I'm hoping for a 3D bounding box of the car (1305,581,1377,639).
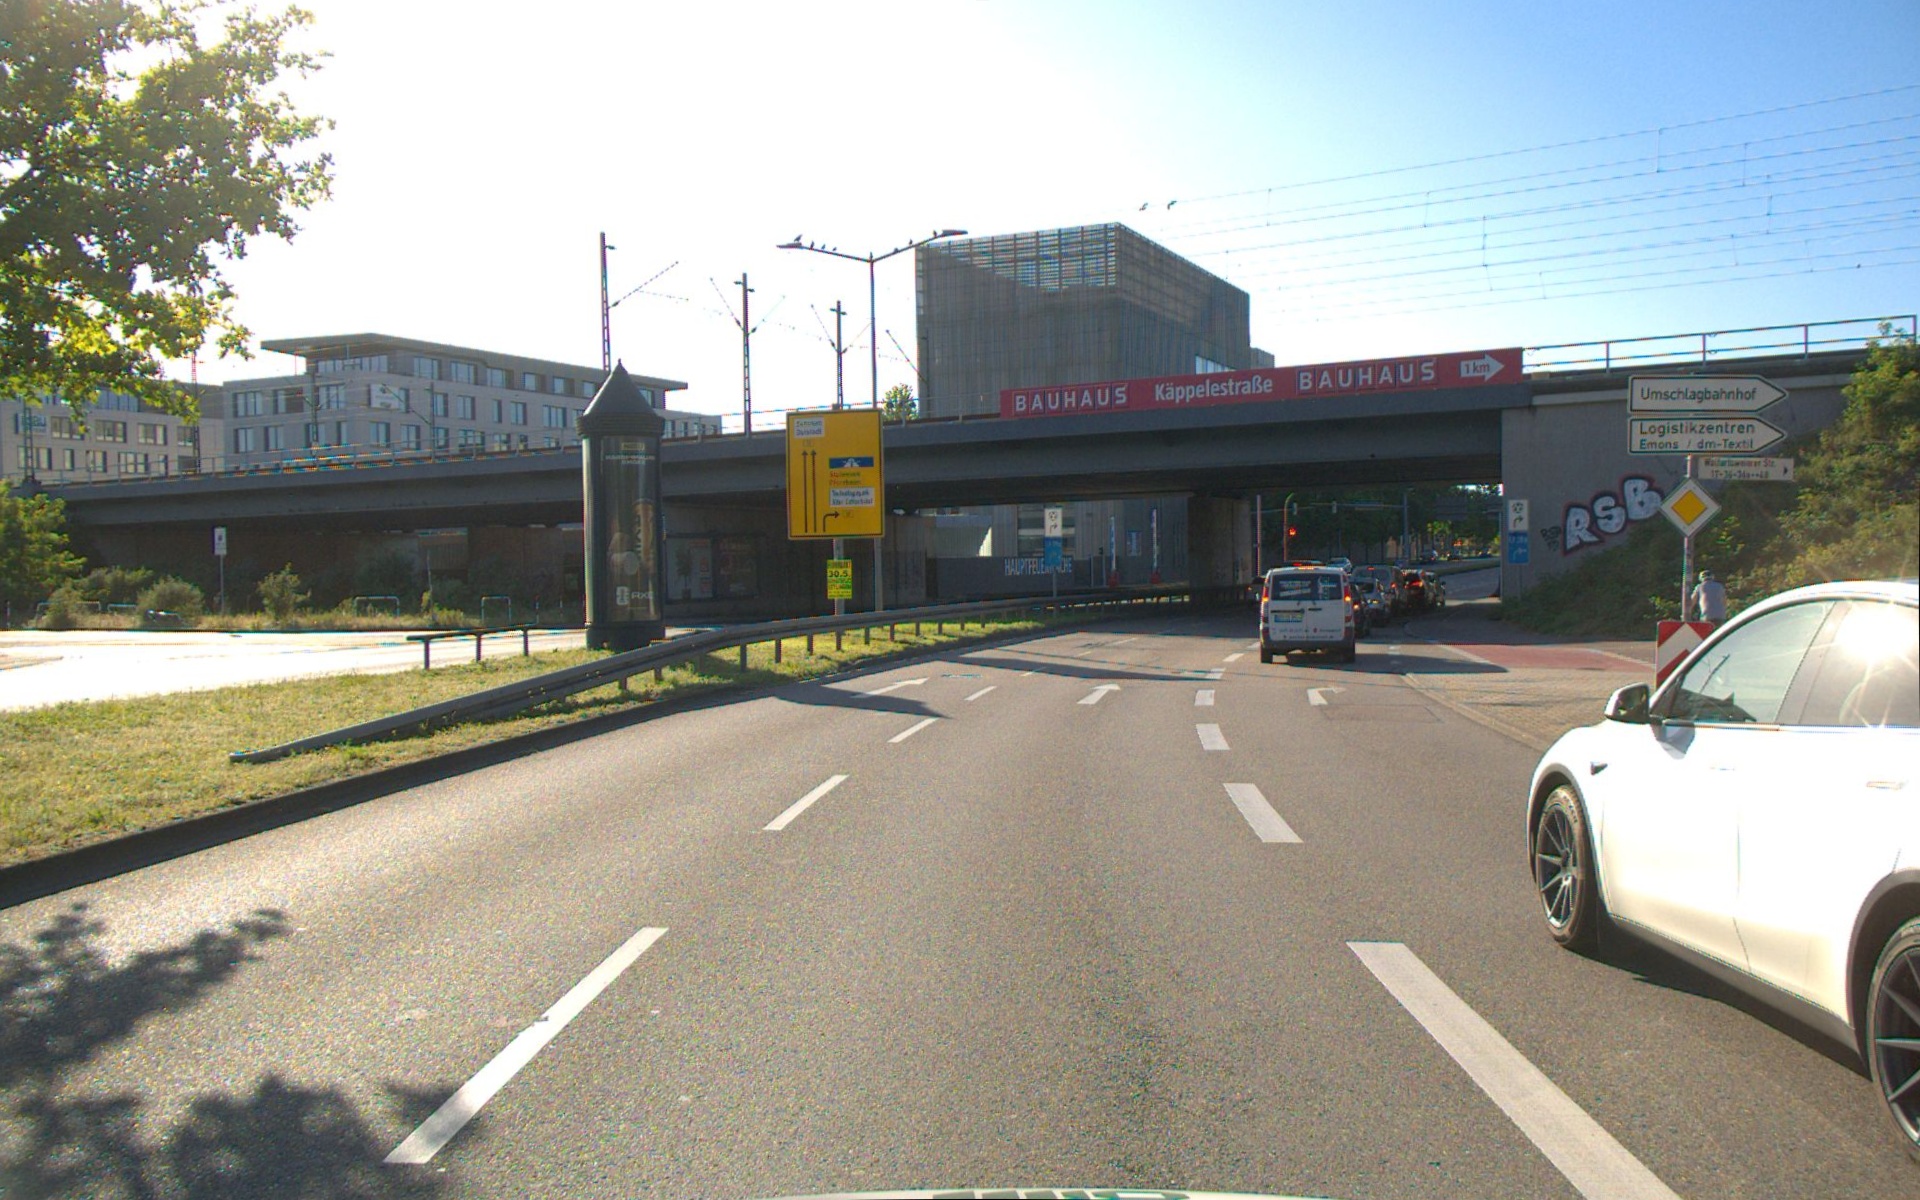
[{"bbox_3d":[10.373,0.234,44.853,1.570,1.459,3.680,0,2,18],"label":"car"}]

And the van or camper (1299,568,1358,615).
[{"bbox_3d":[15.195,-0.371,68.058,1.718,1.845,3.958,0,1,23],"label":"van or camper"}]

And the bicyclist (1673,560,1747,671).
[{"bbox_3d":[11.539,0.241,25.484,0.730,1.647,0.913,-3,0,7],"label":"bicyclist"}]

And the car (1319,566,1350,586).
[{"bbox_3d":[31.892,-2.020,140.741,1.747,1.674,4.199,0,1,25],"label":"car"}]

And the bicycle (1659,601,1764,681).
[{"bbox_3d":[11.621,0.608,25.653,0.727,1.131,2.453,-3,0,7],"label":"bicycle"}]

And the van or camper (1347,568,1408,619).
[{"bbox_3d":[15.563,-0.271,61.559,1.788,1.822,4.546,0,1,20],"label":"van or camper"}]

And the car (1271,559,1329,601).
[{"bbox_3d":[16.584,-0.962,80.516,1.829,1.981,4.594,0,1,24],"label":"car"}]

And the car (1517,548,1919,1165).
[{"bbox_3d":[3.572,0.723,5.617,1.875,1.669,4.410,2,0,1],"label":"car"}]

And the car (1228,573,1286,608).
[{"bbox_3d":[13.254,-0.439,73.672,1.674,1.478,3.741,0,1,24],"label":"car"}]

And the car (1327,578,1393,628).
[{"bbox_3d":[12.824,0.071,52.884,1.726,1.501,4.291,-1,0,17],"label":"car"}]

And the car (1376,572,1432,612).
[{"bbox_3d":[18.133,-0.336,67.426,1.674,1.549,3.741,0,1,24],"label":"car"}]

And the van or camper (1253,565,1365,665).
[{"bbox_3d":[7.334,0.255,34.444,1.917,1.916,4.883,-1,1,16],"label":"van or camper"}]
